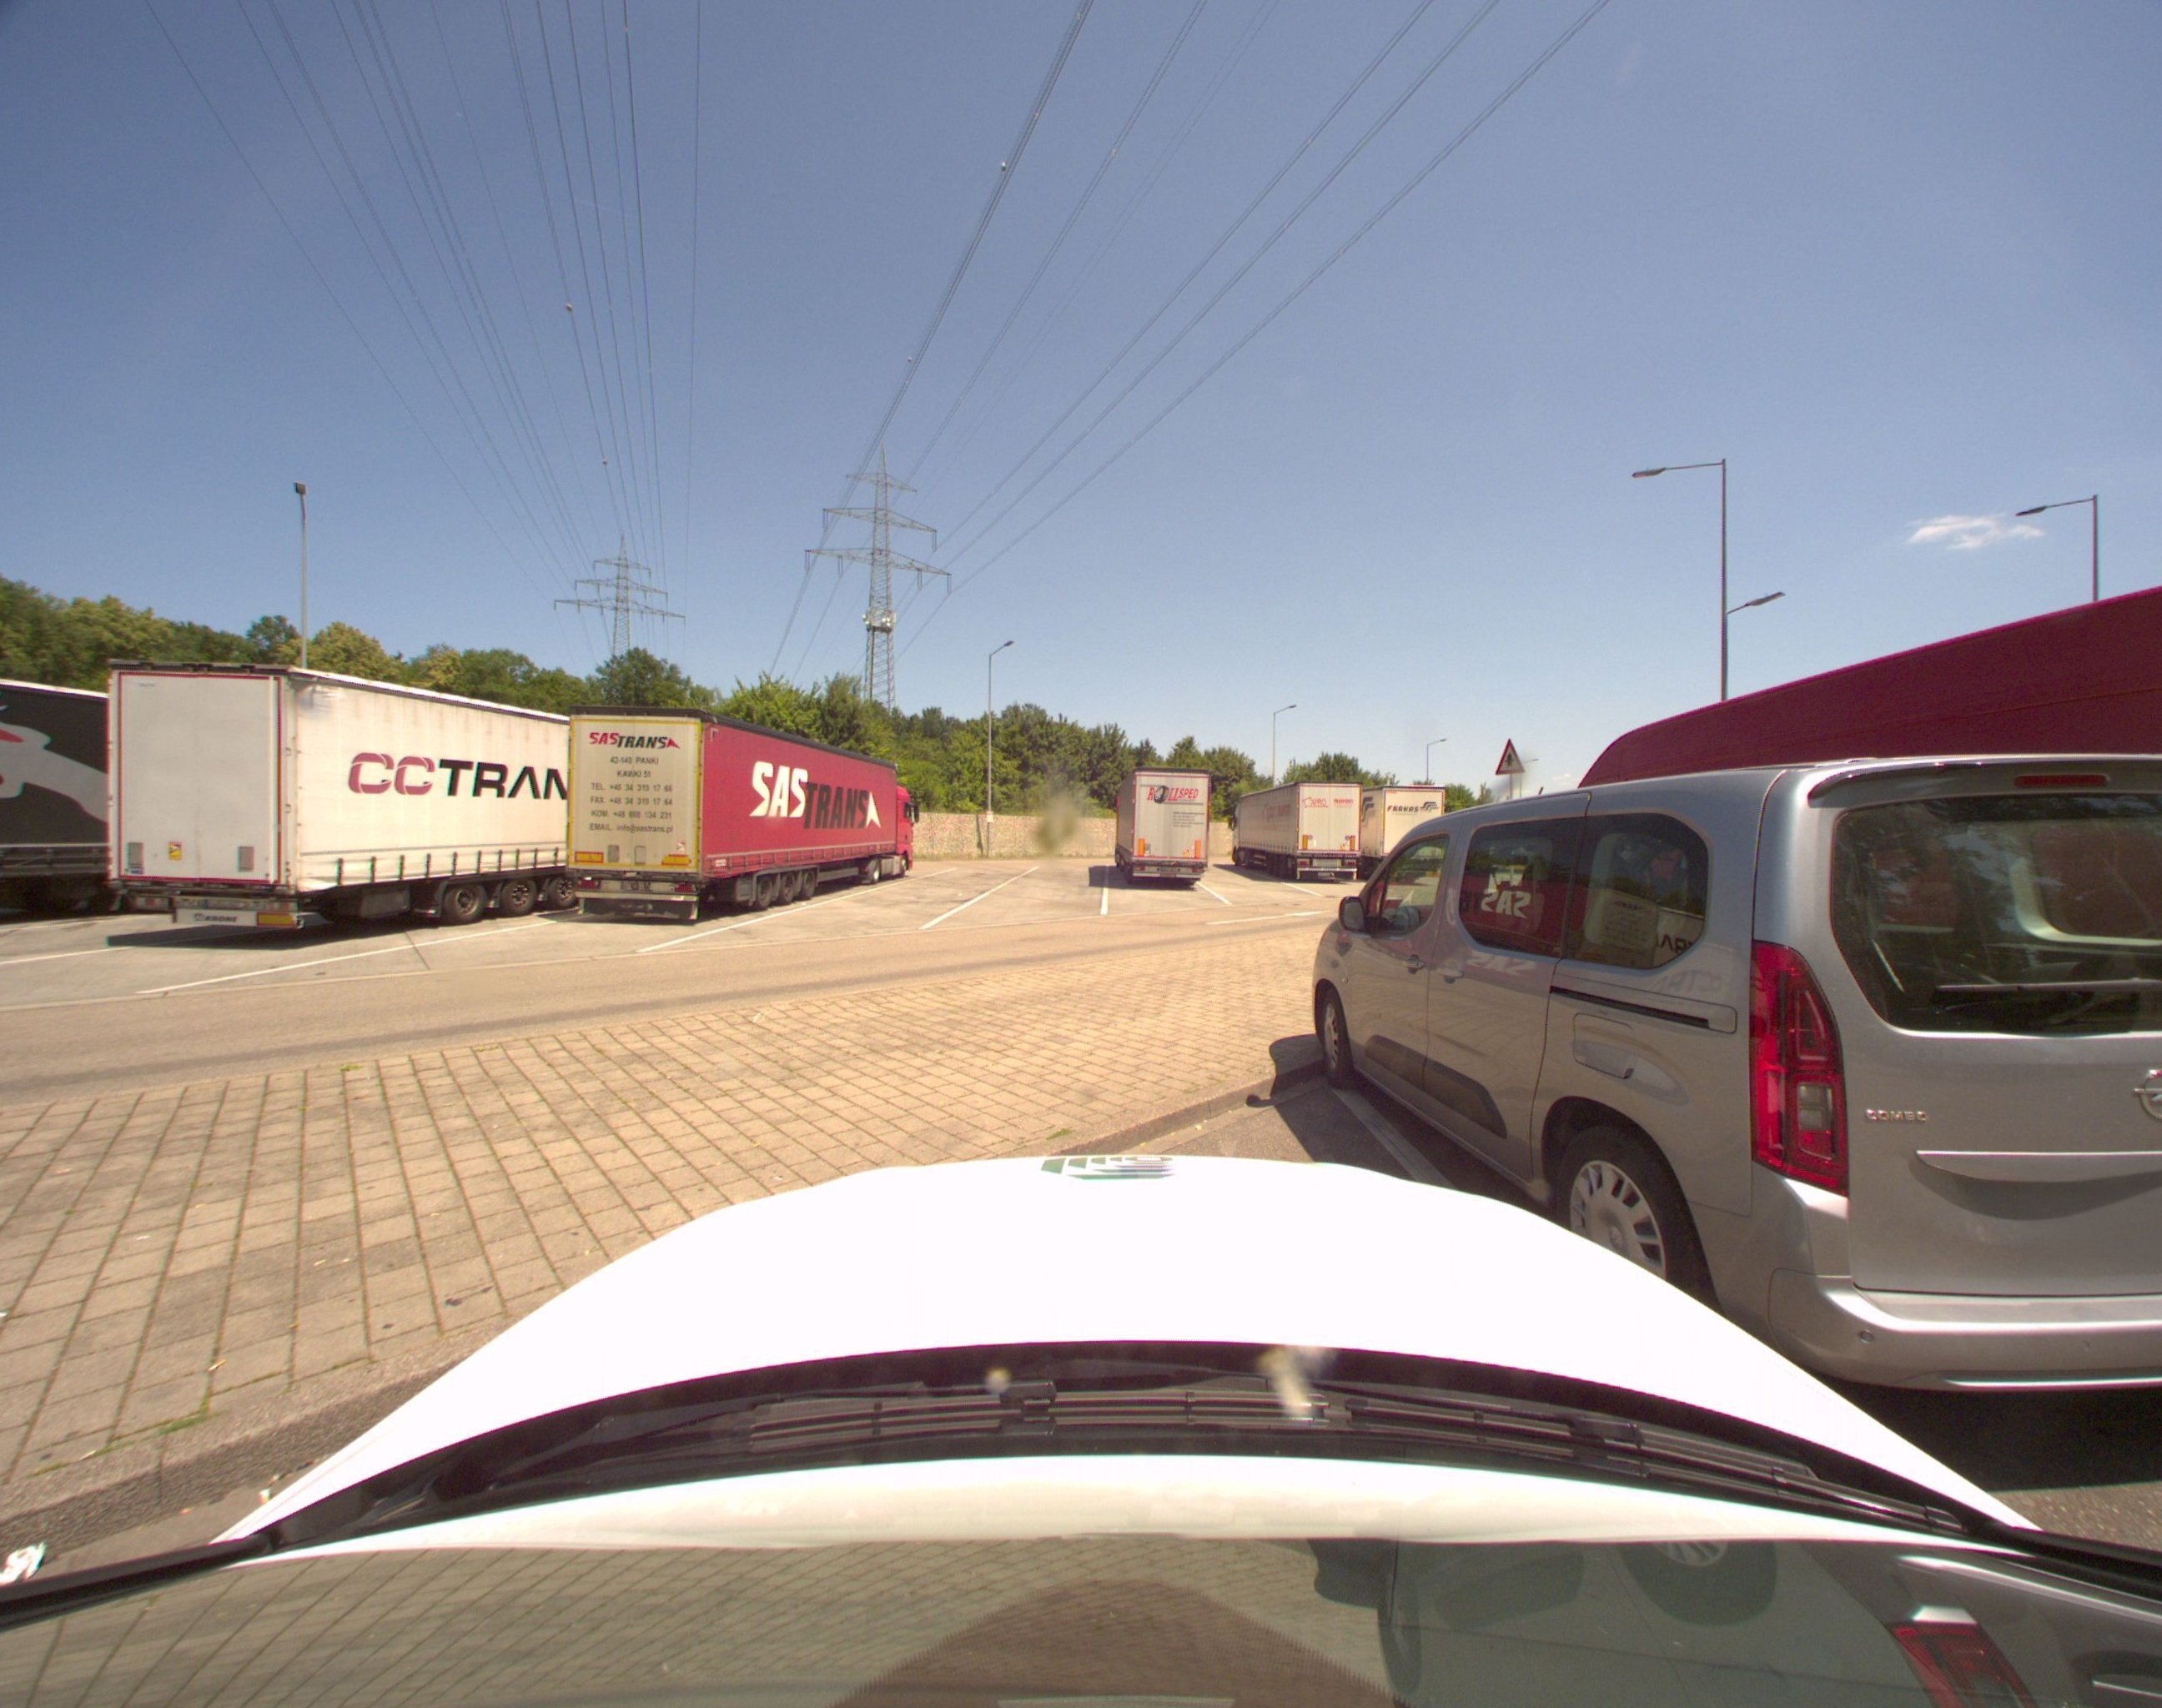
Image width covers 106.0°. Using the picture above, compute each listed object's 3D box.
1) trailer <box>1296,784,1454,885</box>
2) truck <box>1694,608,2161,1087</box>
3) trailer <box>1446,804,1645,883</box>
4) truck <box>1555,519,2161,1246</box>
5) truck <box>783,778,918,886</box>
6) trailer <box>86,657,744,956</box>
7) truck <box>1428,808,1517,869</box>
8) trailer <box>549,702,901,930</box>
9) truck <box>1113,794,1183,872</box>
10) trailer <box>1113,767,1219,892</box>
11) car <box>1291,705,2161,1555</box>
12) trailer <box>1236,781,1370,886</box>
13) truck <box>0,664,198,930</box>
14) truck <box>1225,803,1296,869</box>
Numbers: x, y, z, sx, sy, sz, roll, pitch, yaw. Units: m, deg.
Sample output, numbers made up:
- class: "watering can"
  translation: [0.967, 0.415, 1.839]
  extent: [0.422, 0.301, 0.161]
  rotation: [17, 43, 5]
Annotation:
- class: "trailer"
  translation: [13.593, -1.032, 39.605]
  extent: [2.801, 3.989, 14.403]
  rotation: [1, 2, 2]
- class: "truck"
  translation: [7.980, -0.034, 6.453]
  extent: [2.444, 2.912, 5.663]
  rotation: [-1, -1, 7]
- class: "trailer"
  translation: [24.090, -0.731, 43.751]
  extent: [2.801, 3.507, 14.403]
  rotation: [1, 2, 2]
- class: "truck"
  translation: [5.124, 0.122, 4.905]
  extent: [1.968, 2.622, 5.314]
  rotation: [0, -1, 7]
- class: "truck"
  translation: [-7.826, -0.780, 28.474]
  extent: [2.840, 3.327, 5.903]
  rotation: [1, 2, 2]
- class: "trailer"
  translation: [-12.138, -0.907, 18.335]
  extent: [2.785, 4.084, 14.139]
  rotation: [1, 2, 2]
- class: "truck"
  translation: [24.347, -1.002, 50.982]
  extent: [2.792, 3.521, 5.903]
  rotation: [1, 2, 2]
- class: "trailer"
  translation: [-8.074, -0.943, 21.904]
  extent: [2.781, 4.084, 14.139]
  rotation: [1, 2, 2]
- class: "truck"
  translation: [3.220, -1.076, 40.588]
  extent: [3.092, 3.566, 5.903]
  rotation: [1, 2, 2]
- class: "trailer"
  translation: [3.054, -1.060, 33.694]
  extent: [3.122, 3.989, 14.401]
  rotation: [1, 2, 1]
- class: "car"
  translation: [2.478, 0.577, 3.882]
  extent: [1.864, 1.863, 4.176]
  rotation: [1, 1, 0]
- class: "trailer"
  translation: [9.920, -1.041, 38.642]
  extent: [2.801, 3.989, 14.403]
  rotation: [1, 2, 2]
- class: "truck"
  translation: [-18.551, -0.965, 13.783]
  extent: [2.726, 4.239, 3.997]
  rotation: [1, 2, 2]
- class: "truck"
  translation: [10.183, -1.071, 46.743]
  extent: [2.852, 3.521, 5.903]
  rotation: [1, 2, 2]
